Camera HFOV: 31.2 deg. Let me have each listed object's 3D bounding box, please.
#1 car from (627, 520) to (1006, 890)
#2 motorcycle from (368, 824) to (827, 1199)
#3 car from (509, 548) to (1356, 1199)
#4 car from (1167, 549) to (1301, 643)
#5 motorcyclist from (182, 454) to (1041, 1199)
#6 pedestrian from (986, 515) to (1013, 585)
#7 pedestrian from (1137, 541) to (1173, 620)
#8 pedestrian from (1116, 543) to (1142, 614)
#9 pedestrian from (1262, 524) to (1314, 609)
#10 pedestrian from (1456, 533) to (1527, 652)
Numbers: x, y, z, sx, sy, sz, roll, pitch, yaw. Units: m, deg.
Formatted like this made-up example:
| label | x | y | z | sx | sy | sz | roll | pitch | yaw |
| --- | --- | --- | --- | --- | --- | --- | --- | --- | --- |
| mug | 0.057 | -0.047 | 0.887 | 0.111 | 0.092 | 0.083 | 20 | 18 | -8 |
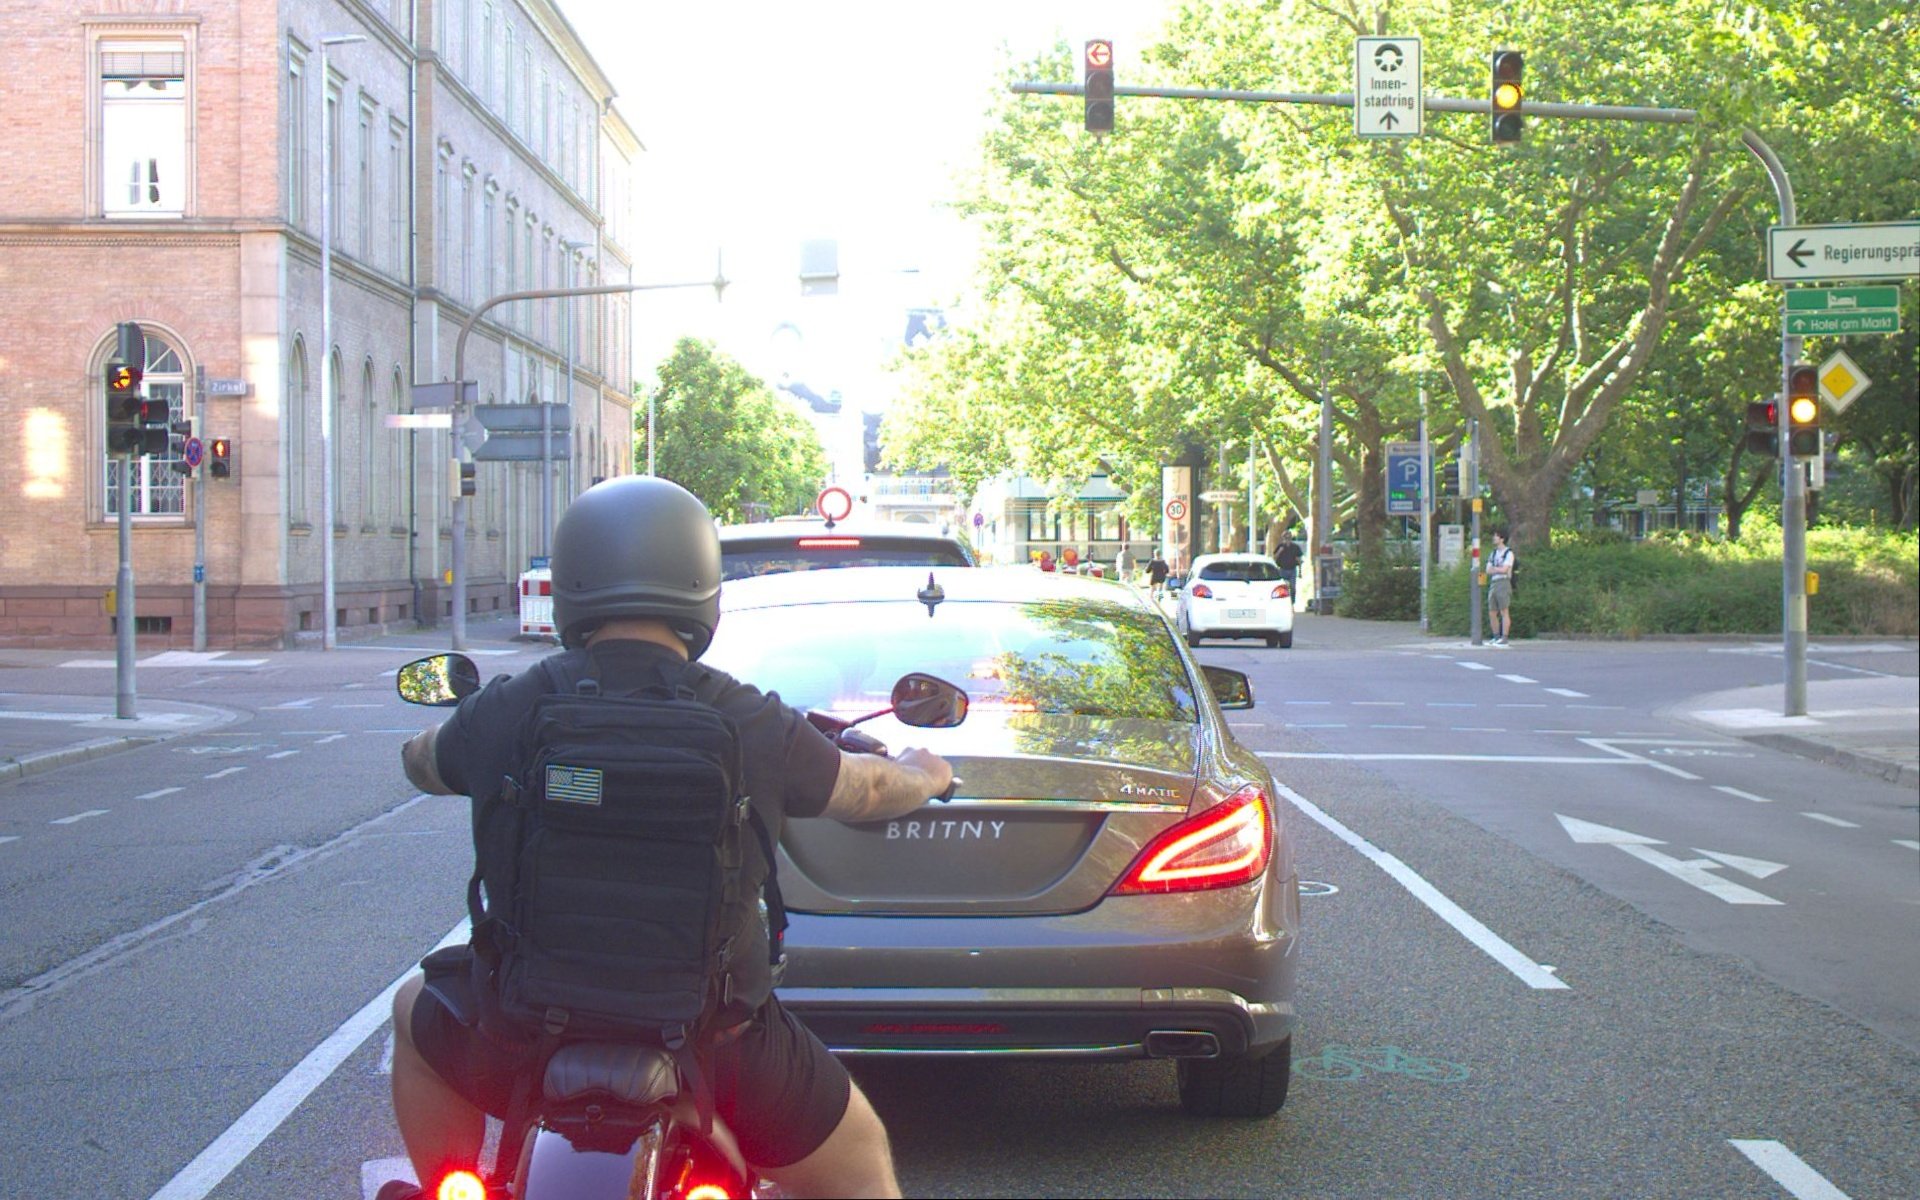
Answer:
| label | x | y | z | sx | sy | sz | roll | pitch | yaw |
| --- | --- | --- | --- | --- | --- | --- | --- | --- | --- |
| car | -0.637 | 0.414 | 16.745 | 1.621 | 1.588 | 4.000 | 0 | 1 | -1 |
| motorcycle | -0.495 | 0.923 | 5.288 | 0.513 | 0.999 | 2.013 | 1 | 1 | -1 |
| car | -0.083 | 0.599 | 9.630 | 1.882 | 1.444 | 3.820 | 1 | 1 | -1 |
| car | 4.287 | -0.087 | 54.235 | 1.776 | 1.423 | 3.802 | 0 | 1 | -1 |
| motorcyclist | -0.483 | 0.601 | 5.296 | 1.149 | 1.593 | 1.288 | 1 | 0 | -1 |
| pedestrian | 1.152 | -1.463 | 100.826 | 0.764 | 2.044 | 0.712 | 1 | 0 | -1 |
| pedestrian | 4.961 | -0.499 | 87.448 | 0.814 | 2.007 | 1.271 | 1 | 0 | -1 |
| pedestrian | 4.798 | -0.606 | 97.889 | 0.656 | 2.007 | 0.933 | 1 | 0 | -1 |
| pedestrian | 7.386 | -0.751 | 77.492 | 0.749 | 1.903 | 0.926 | 1 | 0 | -28 |
| pedestrian | 8.271 | -0.124 | 53.536 | 1.002 | 1.820 | 1.076 | 1 | 0 | 6 |
